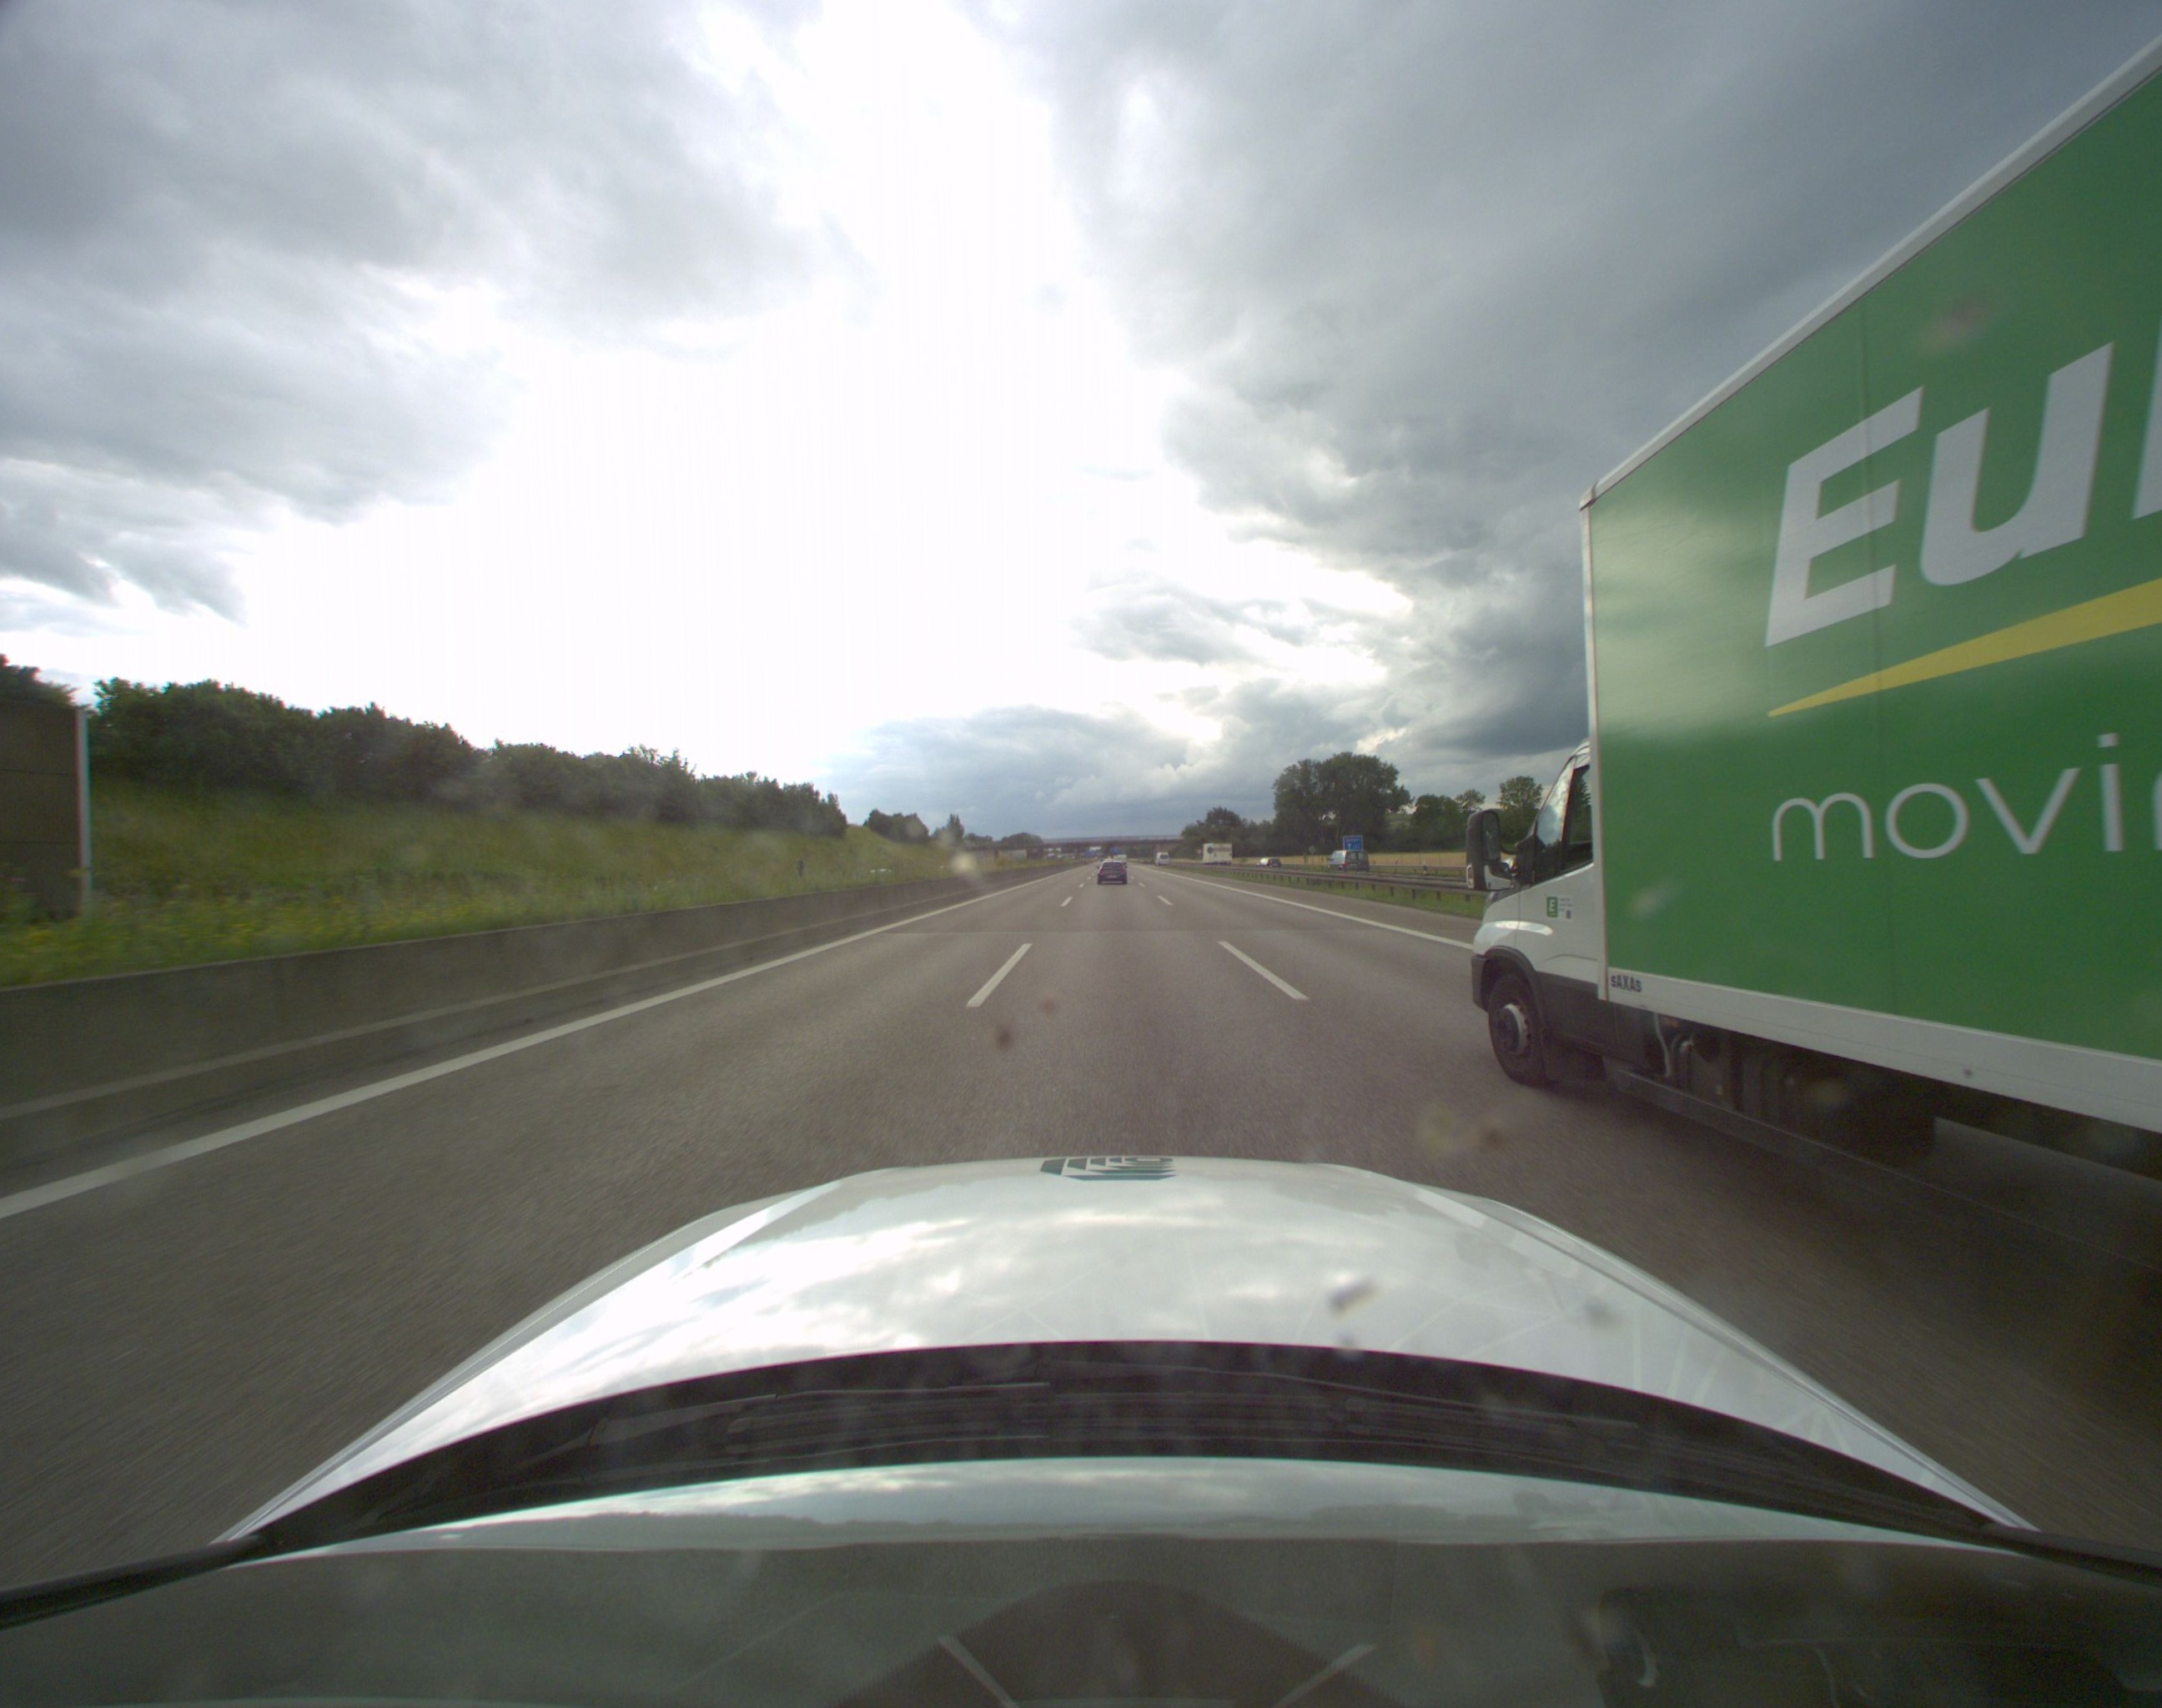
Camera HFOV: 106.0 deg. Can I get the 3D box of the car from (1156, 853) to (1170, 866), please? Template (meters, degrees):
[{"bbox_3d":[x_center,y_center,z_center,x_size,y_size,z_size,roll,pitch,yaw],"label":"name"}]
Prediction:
[{"bbox_3d":[15.767,1.060,157.227,2.213,2.568,6.258,-1,-1,2],"label":"car"}]

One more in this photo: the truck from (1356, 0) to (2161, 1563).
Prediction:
[{"bbox_3d":[3.616,-0.300,2.458,2.760,3.504,9.065,0,0,2],"label":"truck"}]

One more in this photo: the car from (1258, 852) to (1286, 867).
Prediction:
[{"bbox_3d":[21.145,0.595,90.321,1.912,1.550,4.921,-2,-1,-1],"label":"car"}]

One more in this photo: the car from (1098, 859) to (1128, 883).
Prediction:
[{"bbox_3d":[1.934,1.006,49.613,1.737,1.389,4.001,0,0,2],"label":"car"}]

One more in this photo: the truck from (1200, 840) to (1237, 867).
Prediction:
[{"bbox_3d":[18.685,0.010,111.607,3.098,3.471,8.879,0,-1,-3],"label":"truck"}]

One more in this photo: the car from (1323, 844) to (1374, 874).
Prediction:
[{"bbox_3d":[19.336,0.372,59.158,2.136,2.063,4.958,-1,0,1],"label":"car"}]

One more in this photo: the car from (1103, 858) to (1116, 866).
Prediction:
[{"bbox_3d":[4.581,1.281,132.778,1.986,1.298,4.001,-2,-1,1],"label":"car"}]

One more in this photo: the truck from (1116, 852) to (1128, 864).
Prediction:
[{"bbox_3d":[10.623,1.167,211.490,2.700,2.964,12.450,0,-1,2],"label":"truck"}]
